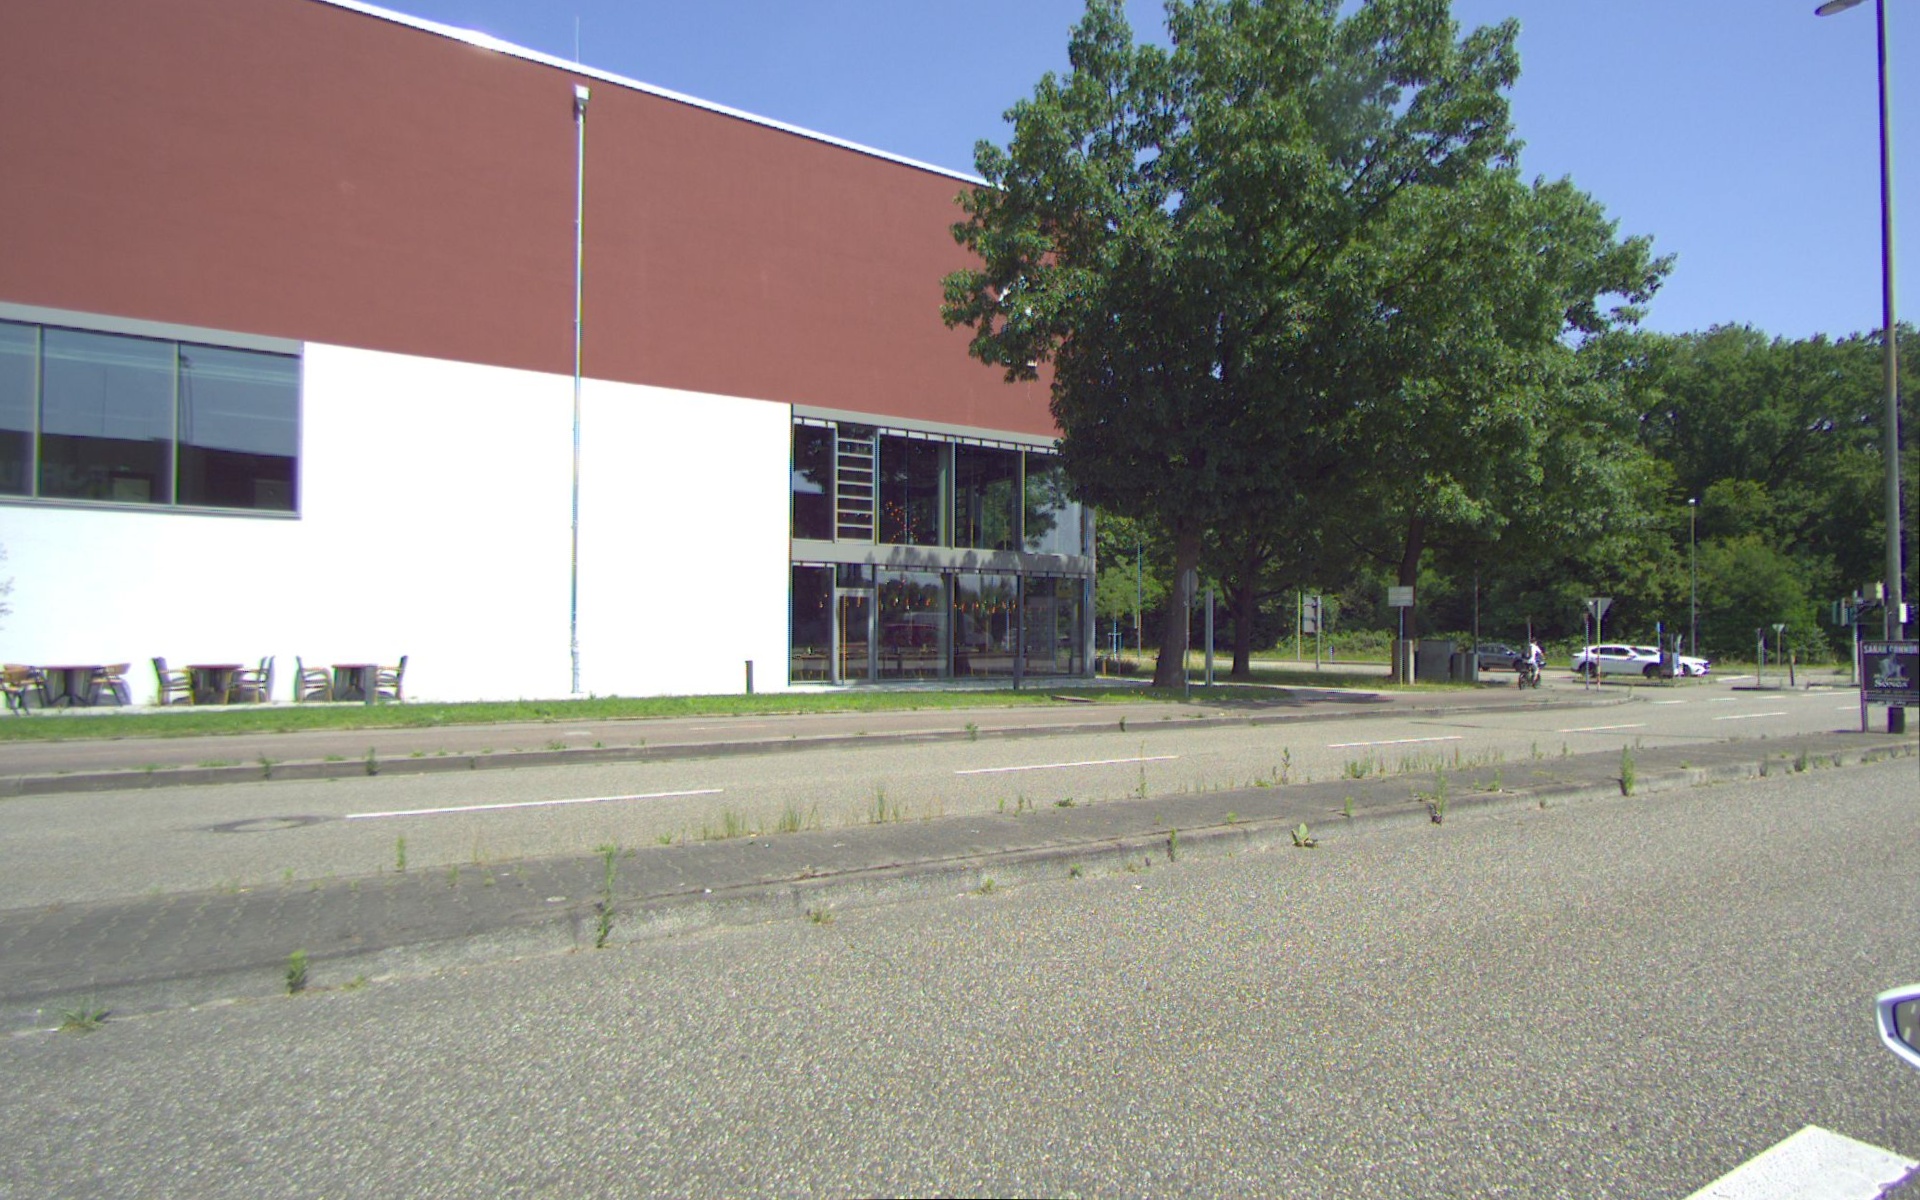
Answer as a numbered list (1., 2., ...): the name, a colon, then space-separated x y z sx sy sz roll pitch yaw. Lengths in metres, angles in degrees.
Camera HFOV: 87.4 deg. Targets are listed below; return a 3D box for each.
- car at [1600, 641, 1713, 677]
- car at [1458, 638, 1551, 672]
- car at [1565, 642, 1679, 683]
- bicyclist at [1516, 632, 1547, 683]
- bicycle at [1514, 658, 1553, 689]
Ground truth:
1. car: 35.617 3.037 51.468 1.794 1.703 4.340 2 -6 -37
2. car: 31.259 3.130 57.715 1.796 1.704 4.333 3 -1 -41
3. car: 32.467 3.043 49.367 1.794 1.704 4.338 2 0 -37
4. bicyclist: 18.833 1.888 33.112 0.916 1.652 0.603 2 -2 -40
5. bicycle: 18.950 2.416 33.176 1.646 0.982 0.612 2 -2 -40
